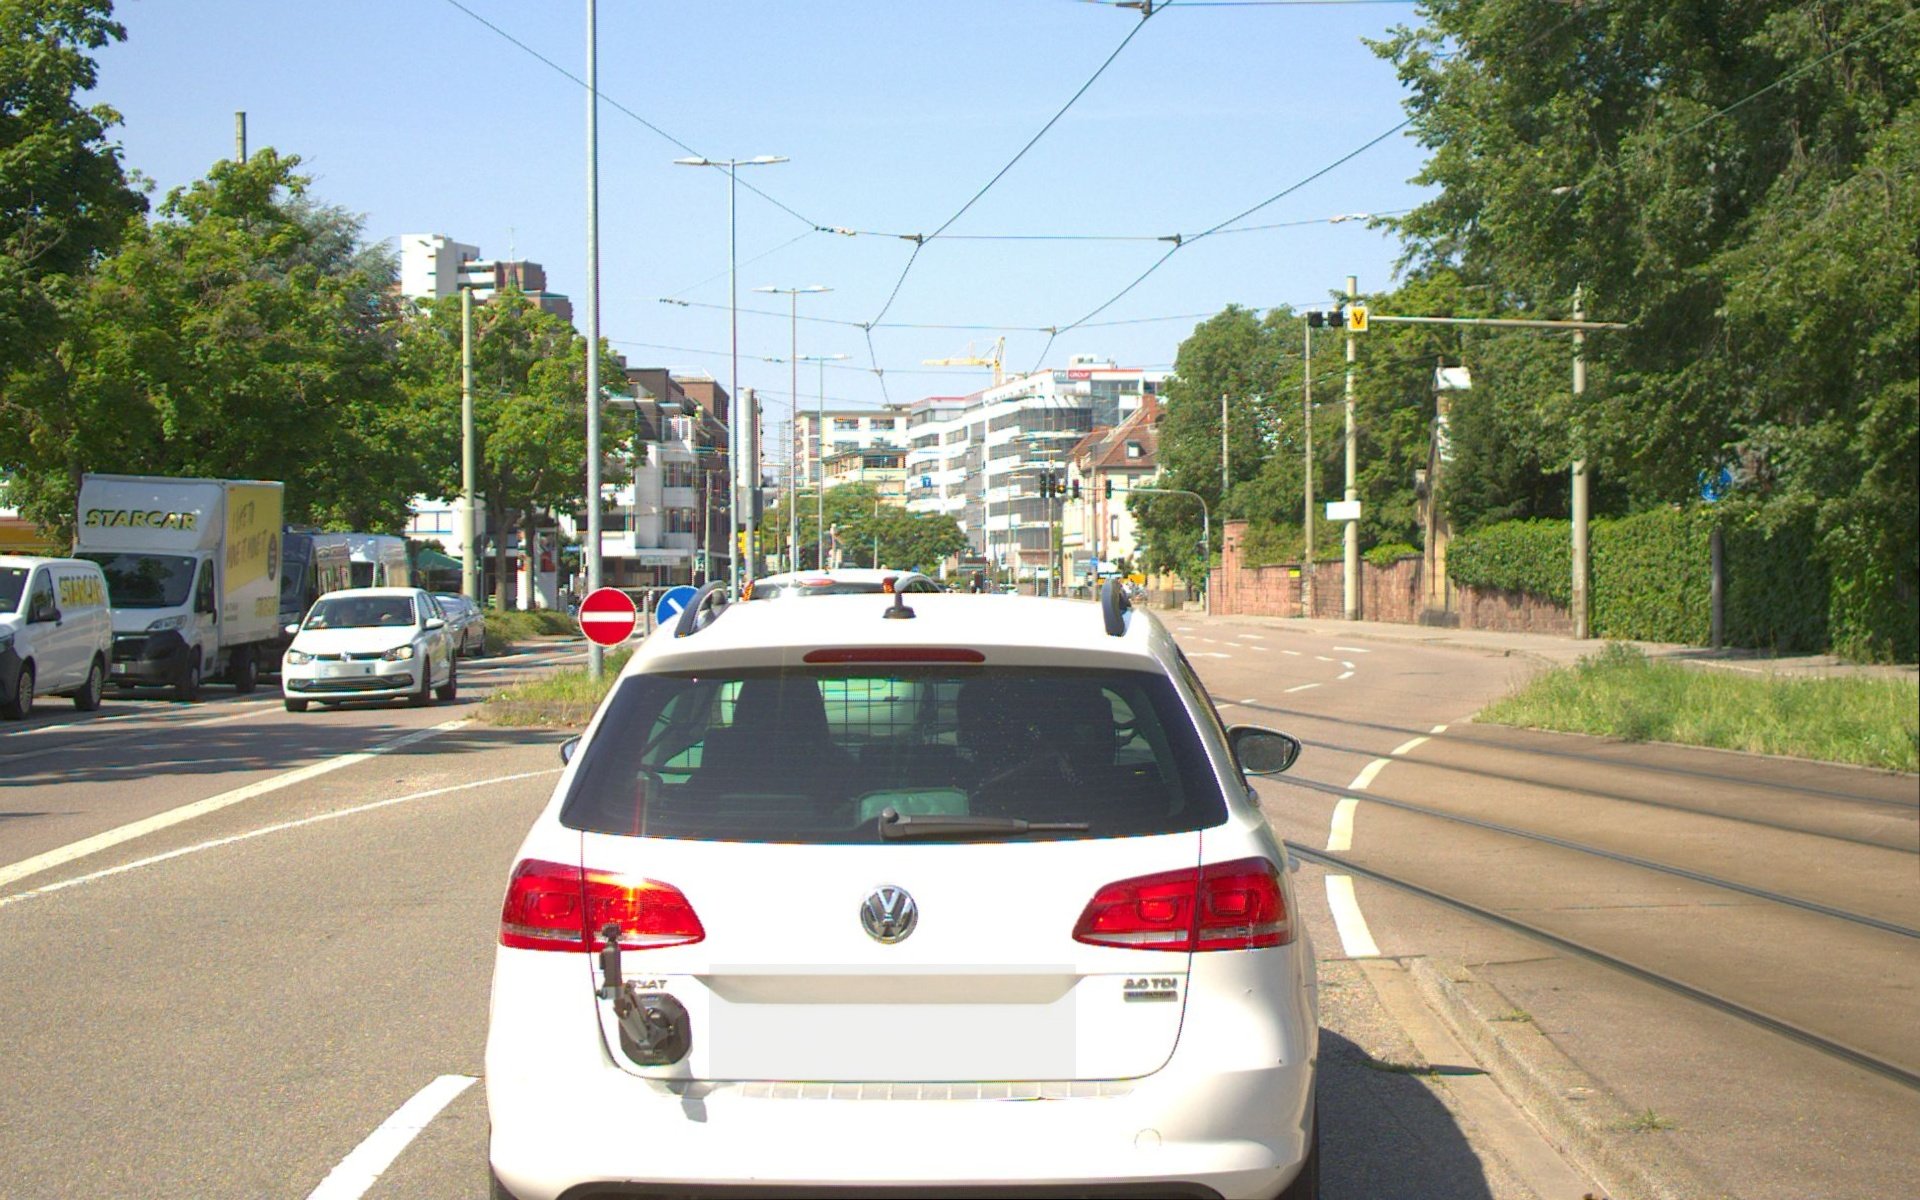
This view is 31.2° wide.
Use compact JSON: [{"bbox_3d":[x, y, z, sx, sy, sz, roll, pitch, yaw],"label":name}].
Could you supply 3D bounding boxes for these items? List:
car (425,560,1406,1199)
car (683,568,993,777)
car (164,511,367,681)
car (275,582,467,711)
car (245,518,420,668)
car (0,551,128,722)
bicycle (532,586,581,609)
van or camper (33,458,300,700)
[{"bbox_3d":[-0.094,0.673,8.251,1.778,1.485,3.847,1,0,0],"label":"car"},{"bbox_3d":[-0.934,0.544,28.661,1.731,1.591,4.009,1,0,11],"label":"car"},{"bbox_3d":[-11.586,-0.097,57.795,2.196,2.659,6.080,1,0,-1],"label":"car"},{"bbox_3d":[-7.071,0.524,41.580,1.727,1.460,4.000,0,1,-1],"label":"car"},{"bbox_3d":[-11.691,-0.153,64.511,2.196,2.622,5.979,1,0,-1],"label":"car"},{"bbox_3d":[-11.751,0.406,41.497,2.196,1.934,5.185,-1,1,-1],"label":"car"},{"bbox_3d":[-16.883,-0.104,143.922,0.553,0.918,2.172,0,1,43],"label":"bicycle"},{"bbox_3d":[-11.376,-0.314,49.865,2.196,3.230,6.772,1,0,0],"label":"van or camper"}]
